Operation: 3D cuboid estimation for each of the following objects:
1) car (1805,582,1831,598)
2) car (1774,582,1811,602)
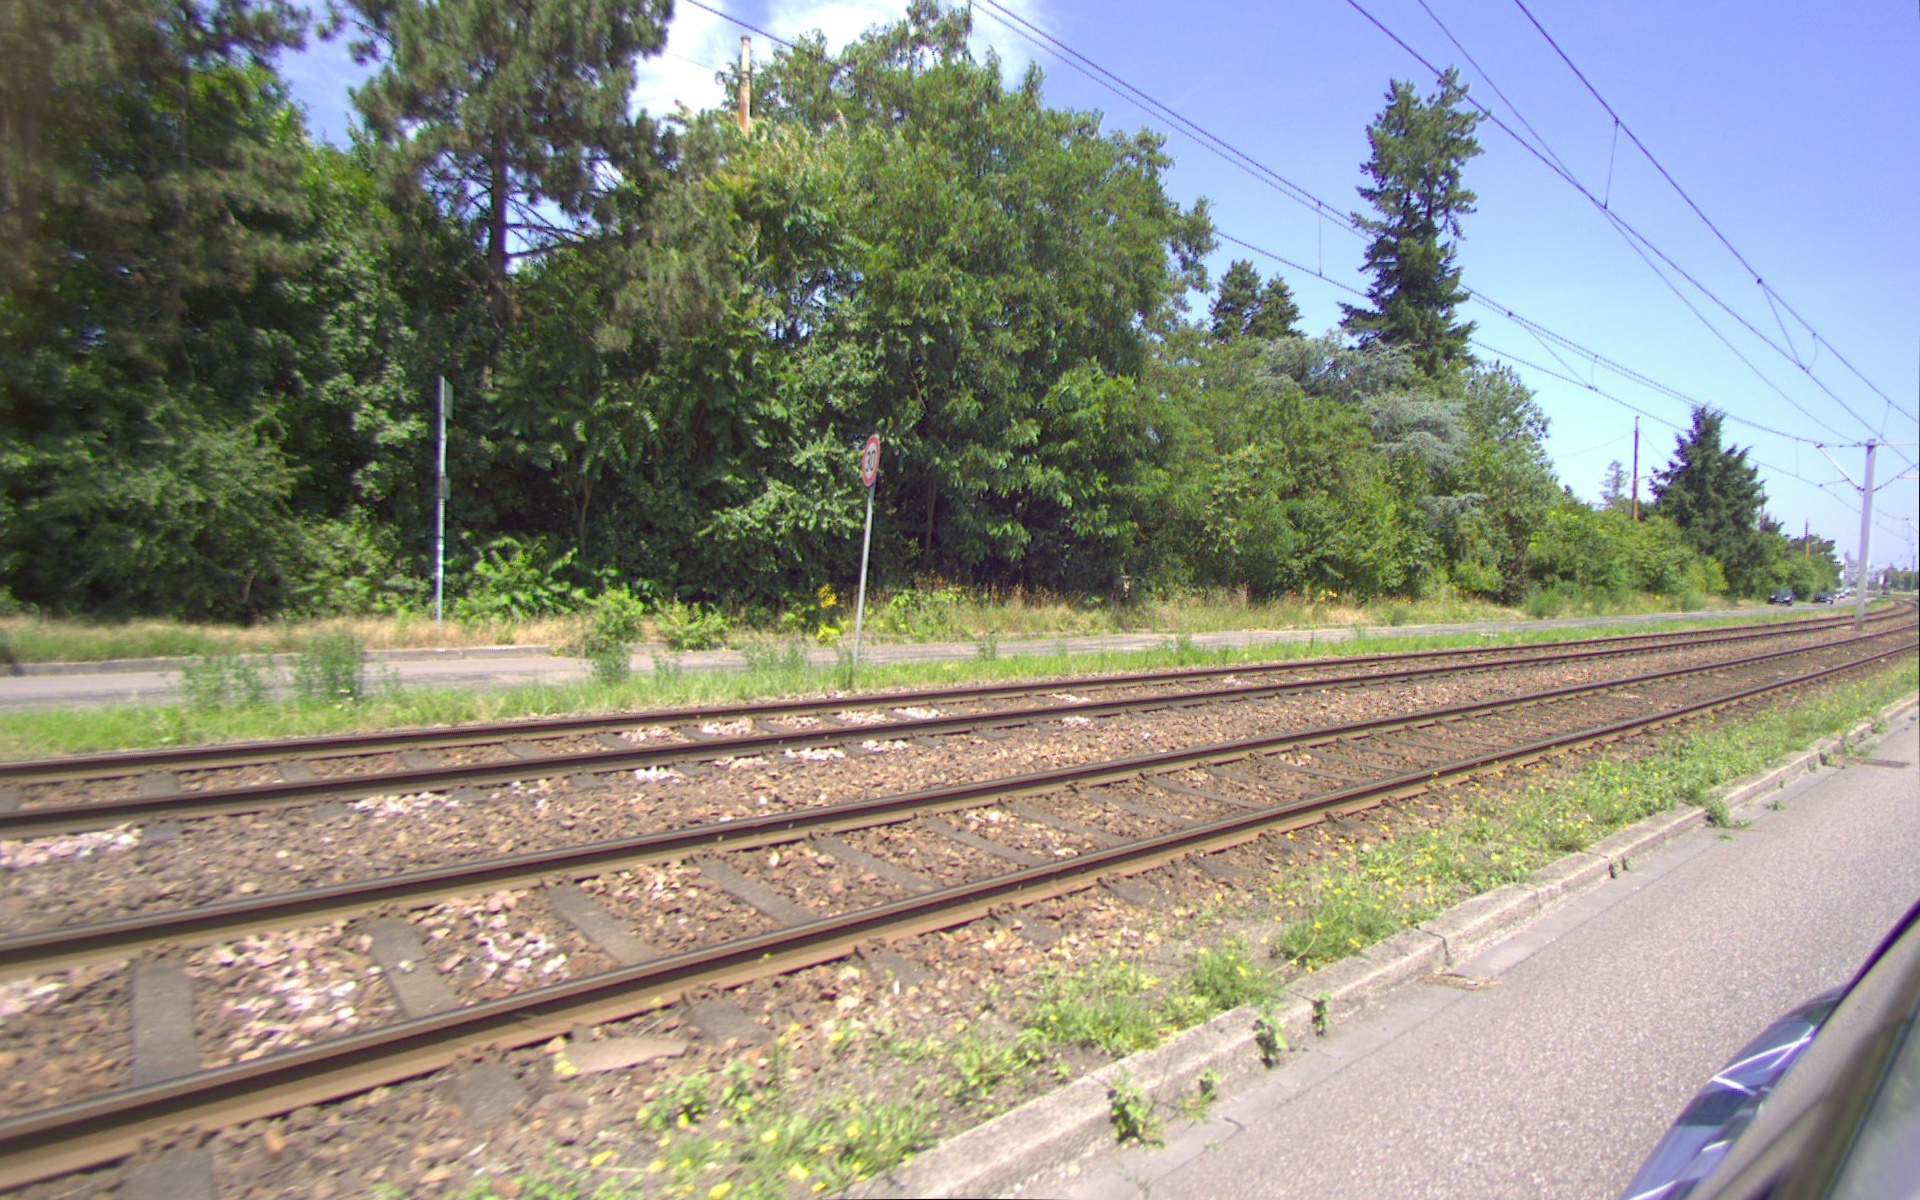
[{"bbox_3d":[95.571,-1.144,112.668,1.942,1.716,3.936,0,1,45],"label":"car"},{"bbox_3d":[75.254,-0.740,91.493,3.932,1.742,1.996,-1,1,-42],"label":"car"}]
